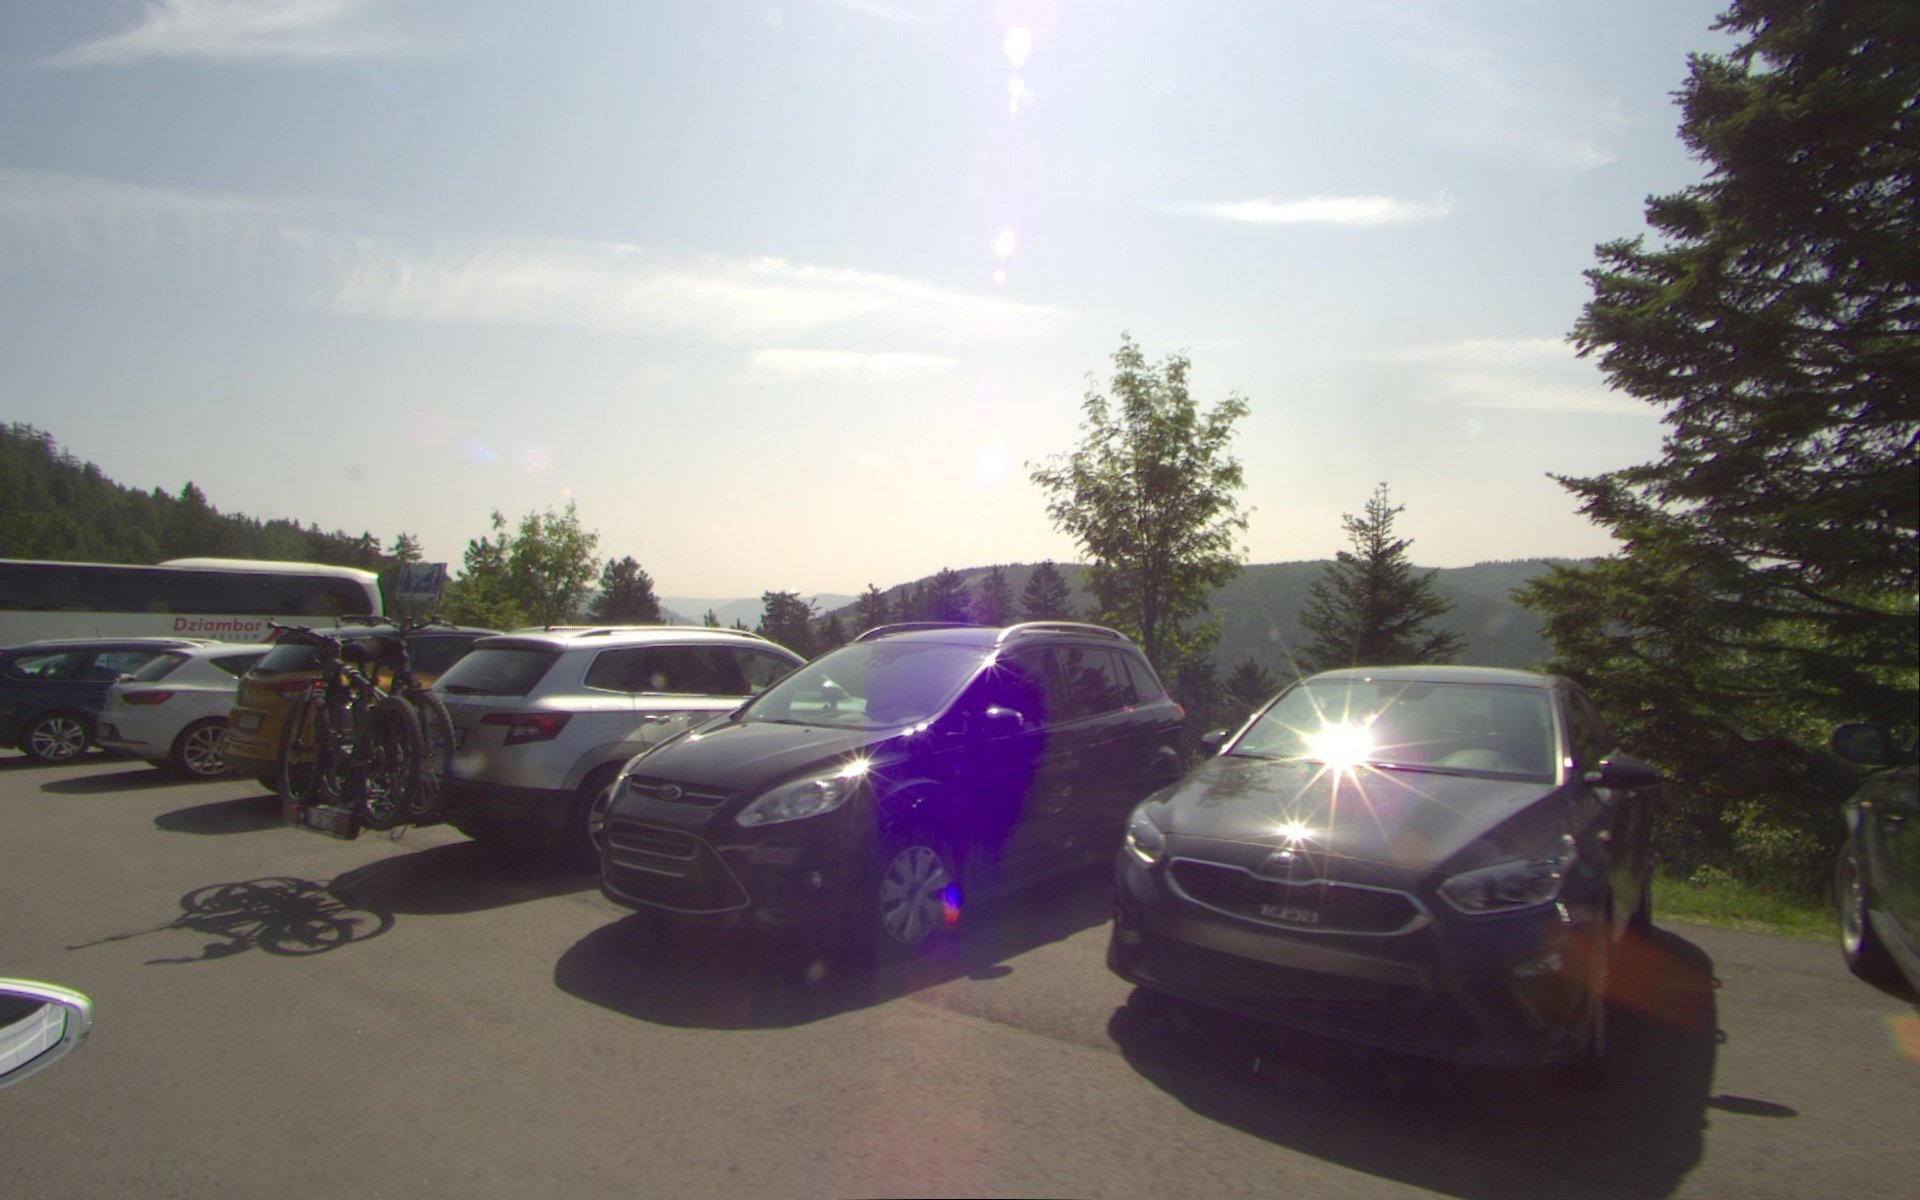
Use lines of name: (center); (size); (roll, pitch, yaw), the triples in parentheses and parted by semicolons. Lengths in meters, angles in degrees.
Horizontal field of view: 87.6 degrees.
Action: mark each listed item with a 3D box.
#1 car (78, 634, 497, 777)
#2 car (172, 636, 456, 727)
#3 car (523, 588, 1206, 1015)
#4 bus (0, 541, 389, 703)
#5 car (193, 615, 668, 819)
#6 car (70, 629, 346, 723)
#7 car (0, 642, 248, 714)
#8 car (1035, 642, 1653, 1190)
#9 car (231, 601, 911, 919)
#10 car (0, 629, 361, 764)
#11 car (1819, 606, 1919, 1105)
car: (-7.880, 1.202, 12.071); (1.594, 1.437, 3.871); (-2, -5, 38)
car: (-11.463, 1.417, 17.951); (1.748, 1.437, 3.966); (-2, -4, 44)
car: (-0.136, 0.936, 6.178); (1.729, 1.638, 4.410); (-1, -4, 35)
bus: (-21.477, 0.566, 24.512); (12.765, 3.623, 2.812); (2, -2, -44)
car: (-5.108, 1.079, 10.137); (1.688, 1.635, 3.867); (-1, -4, 37)
car: (-14.232, 1.404, 19.108); (1.748, 1.593, 3.966); (-2, -3, 44)
car: (-18.171, 1.647, 21.642); (4.393, 1.413, 1.703); (3, -3, -42)
car: (2.264, 1.014, 4.935); (1.669, 1.449, 4.300); (-1, -4, 38)
car: (-2.528, 0.970, 7.626); (1.986, 1.647, 4.466); (-1, -3, 35)
car: (-10.670, 1.202, 13.535); (1.653, 1.563, 4.111); (-1, -2, 41)
car: (4.068, 0.847, 2.871); (1.974, 1.639, 5.091); (-1, -5, 36)
